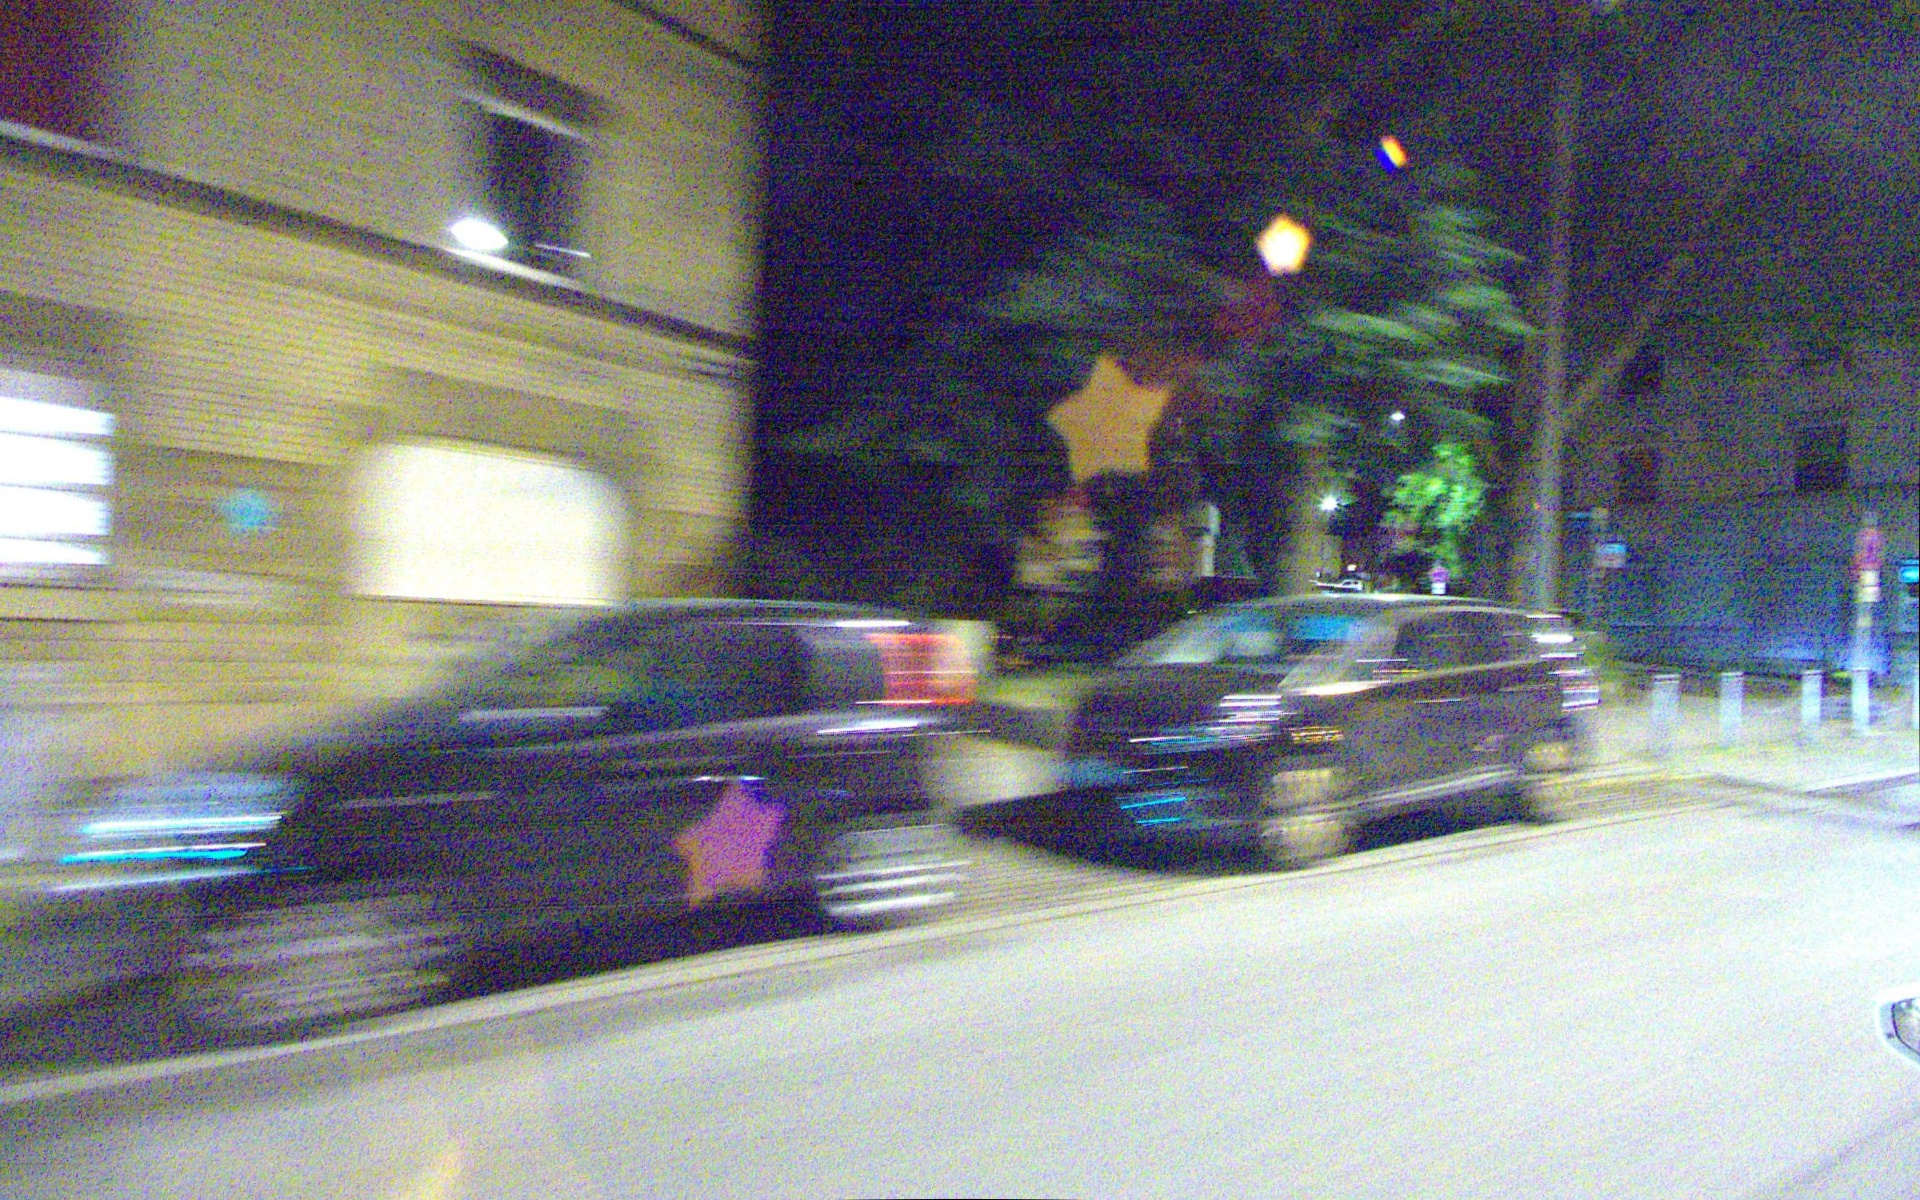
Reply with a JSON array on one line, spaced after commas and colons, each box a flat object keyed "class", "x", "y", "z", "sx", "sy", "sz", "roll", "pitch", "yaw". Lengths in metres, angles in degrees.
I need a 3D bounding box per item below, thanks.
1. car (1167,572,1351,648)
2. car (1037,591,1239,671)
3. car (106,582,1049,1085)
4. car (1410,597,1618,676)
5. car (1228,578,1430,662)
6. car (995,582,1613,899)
[{"class": "car", "x": 7.156, "y": 0.238, "z": 24.120, "sx": 3.921, "sy": 1.628, "sz": 1.753, "roll": 2, "pitch": 2, "yaw": -21}, {"class": "car", "x": 3.314, "y": 0.564, "z": 18.564, "sx": 3.523, "sy": 1.334, "sz": 1.547, "roll": 2, "pitch": 1, "yaw": -32}, {"class": "car", "x": -1.530, "y": 0.748, "z": 4.795, "sx": 3.663, "sy": 1.535, "sz": 1.637, "roll": 2, "pitch": 1, "yaw": -34}, {"class": "car", "x": 12.503, "y": 0.772, "z": 22.972, "sx": 1.735, "sy": 1.444, "sz": 3.981, "roll": 2, "pitch": 2, "yaw": -20}, {"class": "car", "x": 7.853, "y": 0.430, "z": 21.303, "sx": 4.139, "sy": 1.559, "sz": 1.747, "roll": 2, "pitch": 3, "yaw": -31}, {"class": "car", "x": 2.670, "y": 0.765, "z": 7.343, "sx": 4.622, "sy": 1.672, "sz": 1.837, "roll": 1, "pitch": 0, "yaw": -34}]
